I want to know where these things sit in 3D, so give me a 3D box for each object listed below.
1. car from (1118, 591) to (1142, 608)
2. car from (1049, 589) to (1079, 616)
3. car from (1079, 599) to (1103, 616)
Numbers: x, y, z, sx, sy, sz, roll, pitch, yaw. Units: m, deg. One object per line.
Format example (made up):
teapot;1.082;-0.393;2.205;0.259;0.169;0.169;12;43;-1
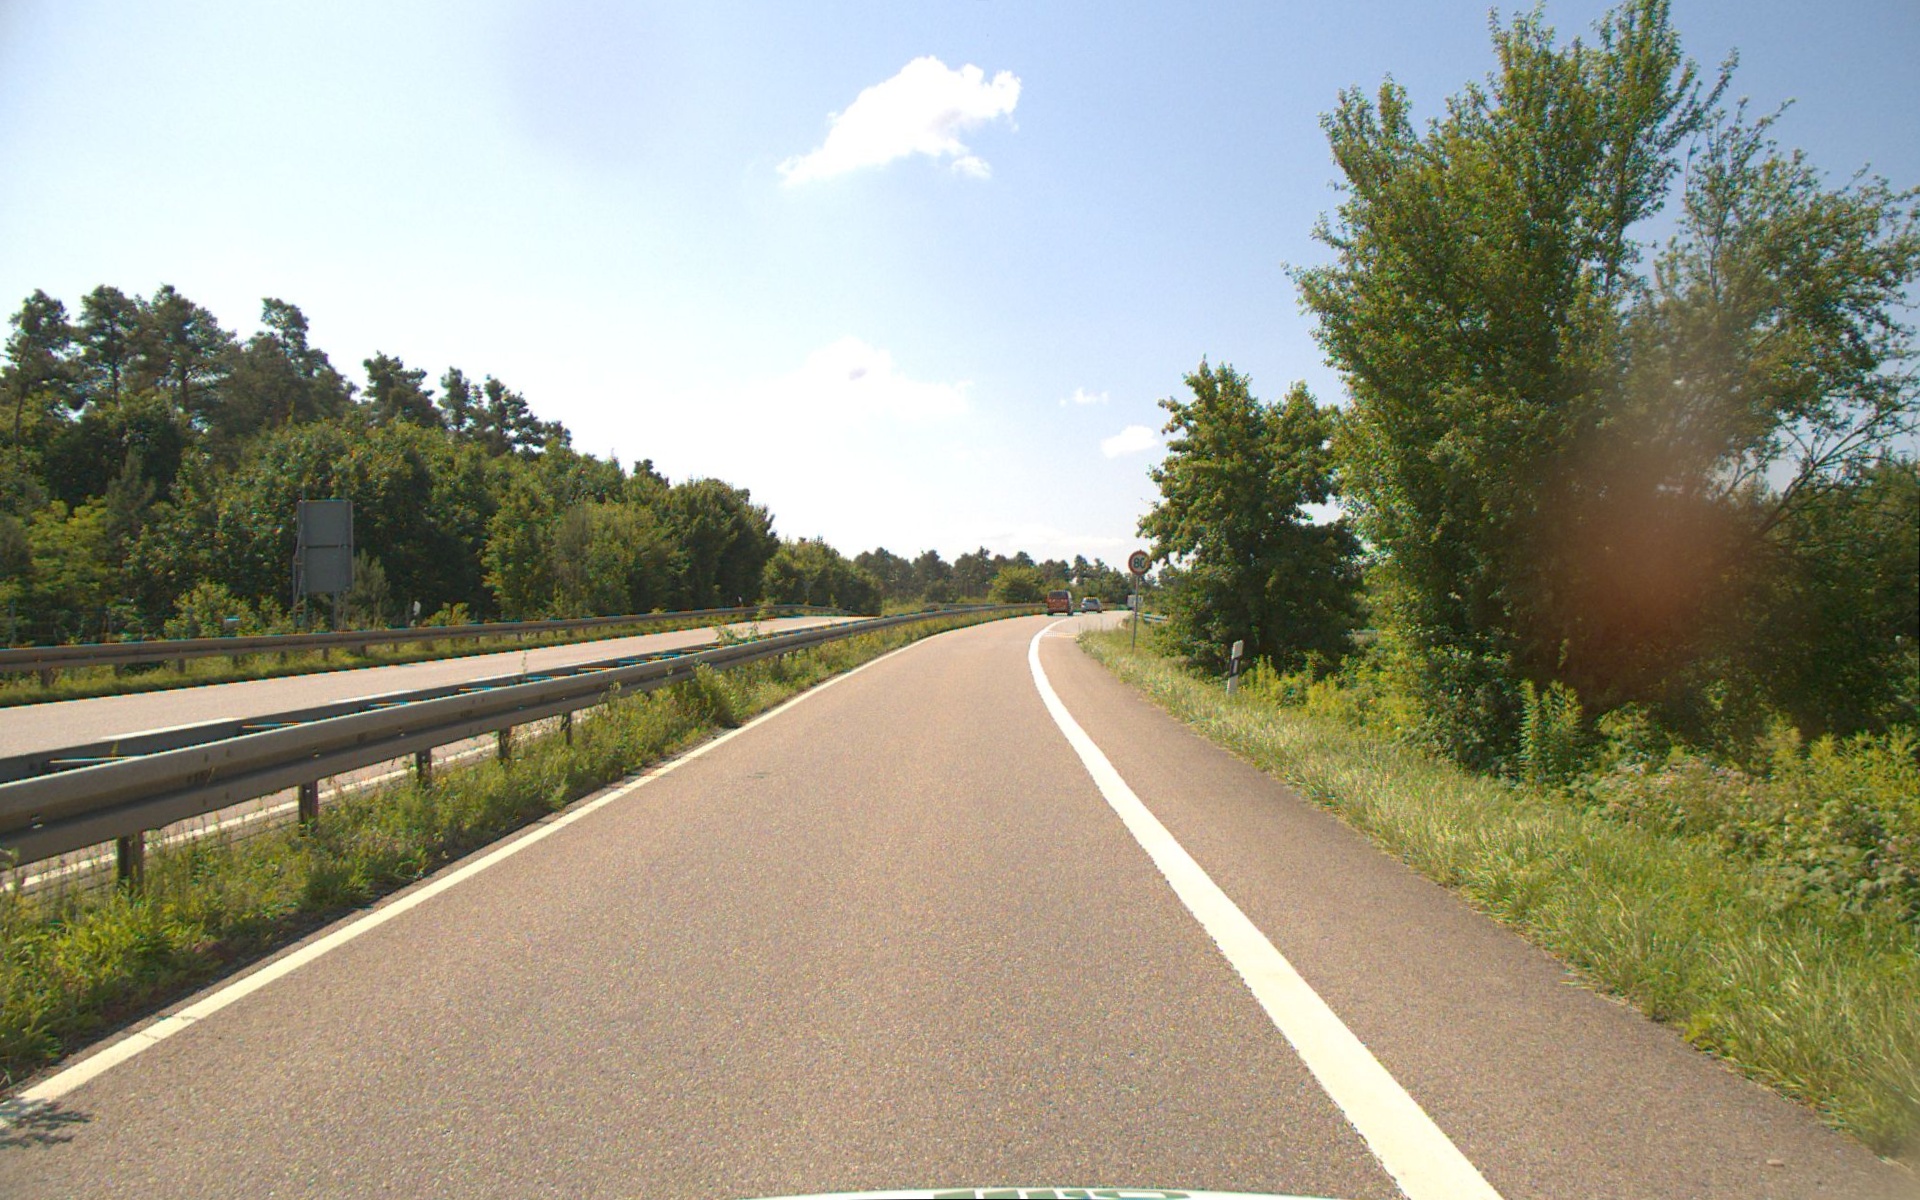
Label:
car;21.225;-0.043;206.520;2.138;1.989;5.808;1;-1;14
car;8.359;0.210;132.414;2.033;2.028;5.115;1;-1;8
car;12.353;0.692;155.928;1.964;1.520;4.242;1;-1;8
